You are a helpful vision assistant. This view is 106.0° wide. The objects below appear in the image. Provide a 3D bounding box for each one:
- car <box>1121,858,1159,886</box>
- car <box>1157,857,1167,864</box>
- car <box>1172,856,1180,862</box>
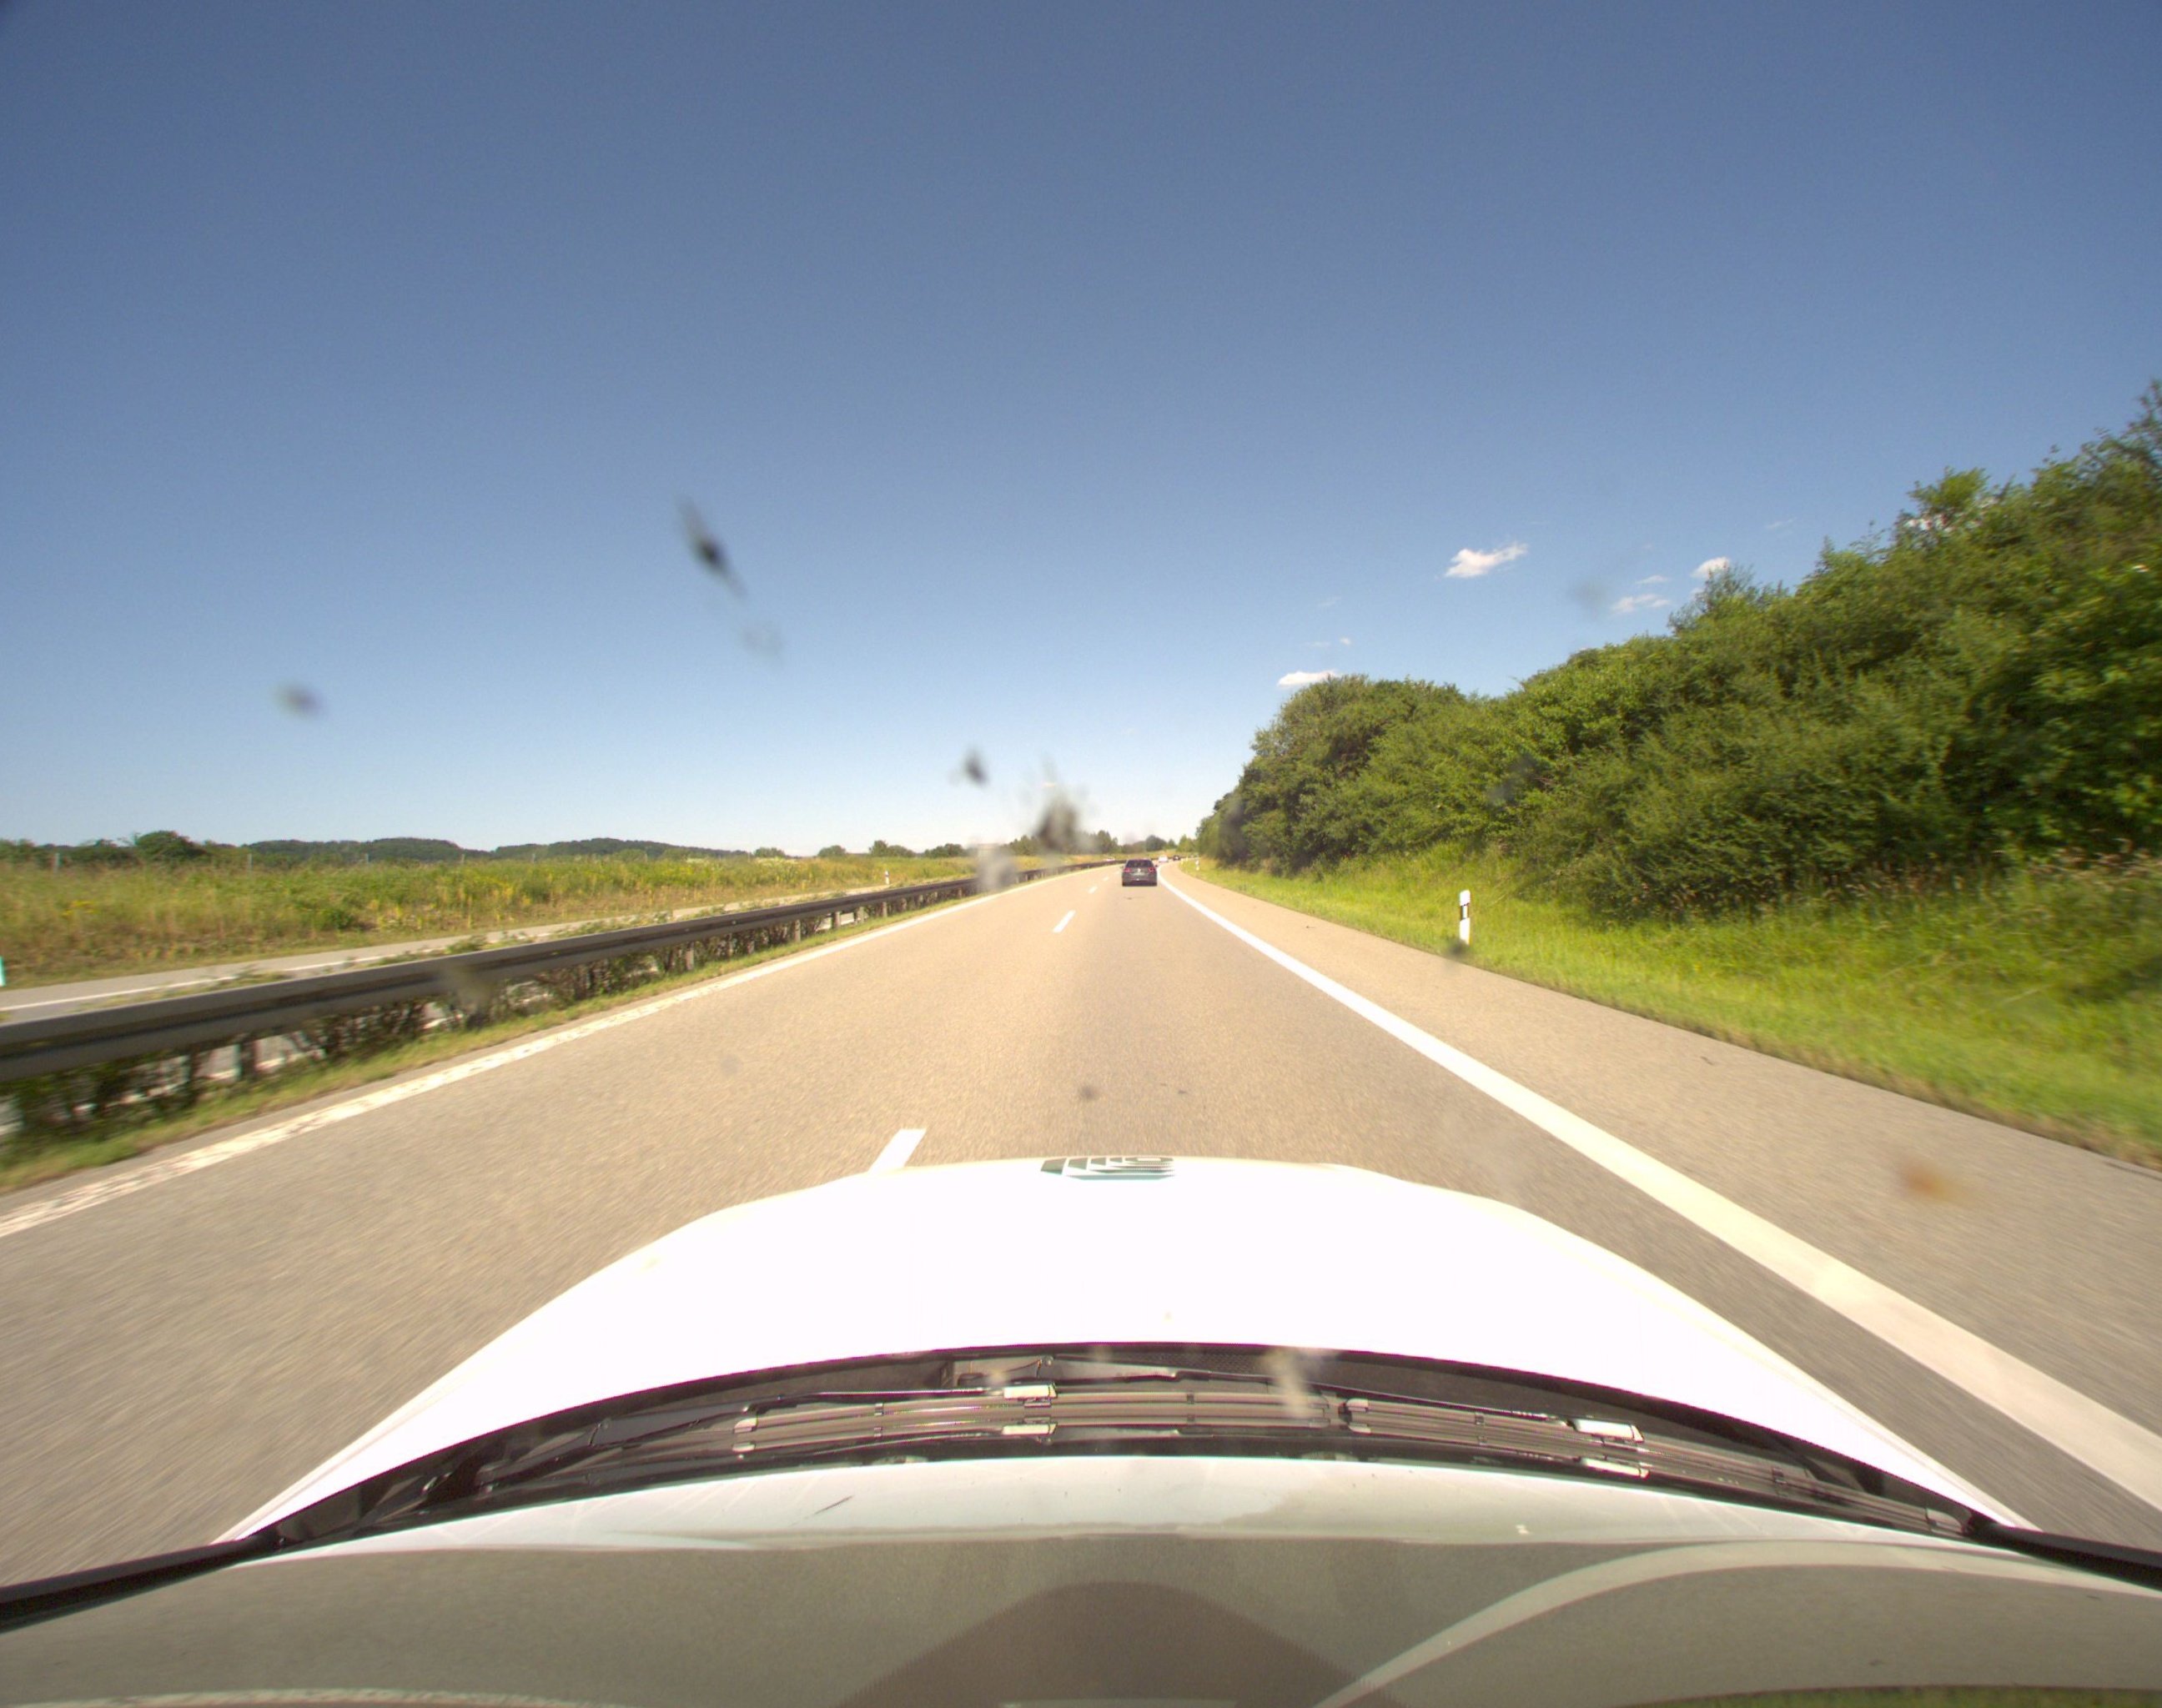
[{"bbox_3d":[2.973,0.898,41.836,1.784,1.344,4.002,0,-1,2],"label":"car"},{"bbox_3d":[16.837,1.442,169.178,1.998,1.345,4.004,0,-1,4],"label":"car"},{"bbox_3d":[23.504,1.177,201.224,1.699,1.387,3.366,0,-1,12],"label":"car"}]
